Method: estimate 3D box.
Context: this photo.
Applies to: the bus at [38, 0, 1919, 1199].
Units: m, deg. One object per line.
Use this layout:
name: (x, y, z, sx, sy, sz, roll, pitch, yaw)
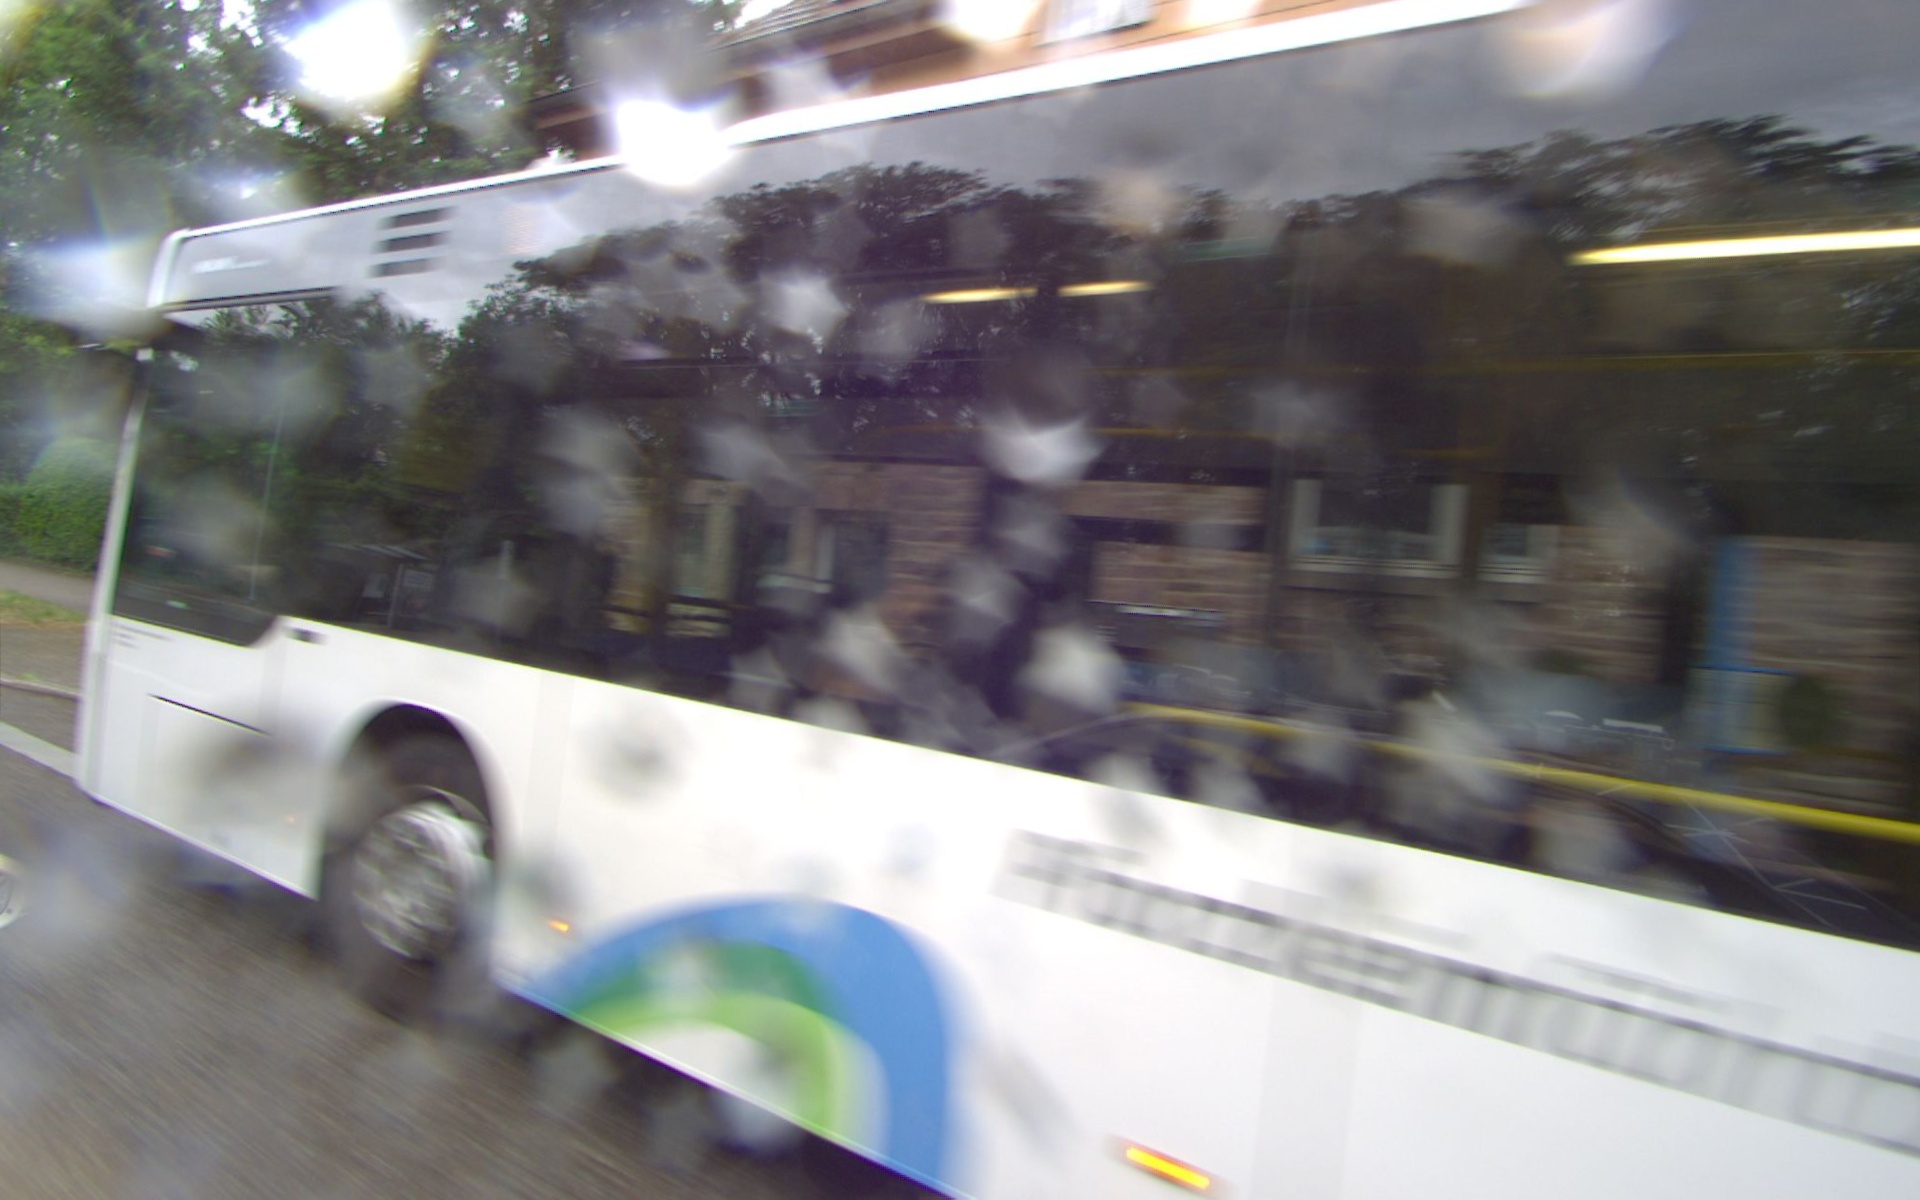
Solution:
bus: (0.738, 0.137, 3.197, 9.289, 2.995, 2.561, 7, 0, 30)
